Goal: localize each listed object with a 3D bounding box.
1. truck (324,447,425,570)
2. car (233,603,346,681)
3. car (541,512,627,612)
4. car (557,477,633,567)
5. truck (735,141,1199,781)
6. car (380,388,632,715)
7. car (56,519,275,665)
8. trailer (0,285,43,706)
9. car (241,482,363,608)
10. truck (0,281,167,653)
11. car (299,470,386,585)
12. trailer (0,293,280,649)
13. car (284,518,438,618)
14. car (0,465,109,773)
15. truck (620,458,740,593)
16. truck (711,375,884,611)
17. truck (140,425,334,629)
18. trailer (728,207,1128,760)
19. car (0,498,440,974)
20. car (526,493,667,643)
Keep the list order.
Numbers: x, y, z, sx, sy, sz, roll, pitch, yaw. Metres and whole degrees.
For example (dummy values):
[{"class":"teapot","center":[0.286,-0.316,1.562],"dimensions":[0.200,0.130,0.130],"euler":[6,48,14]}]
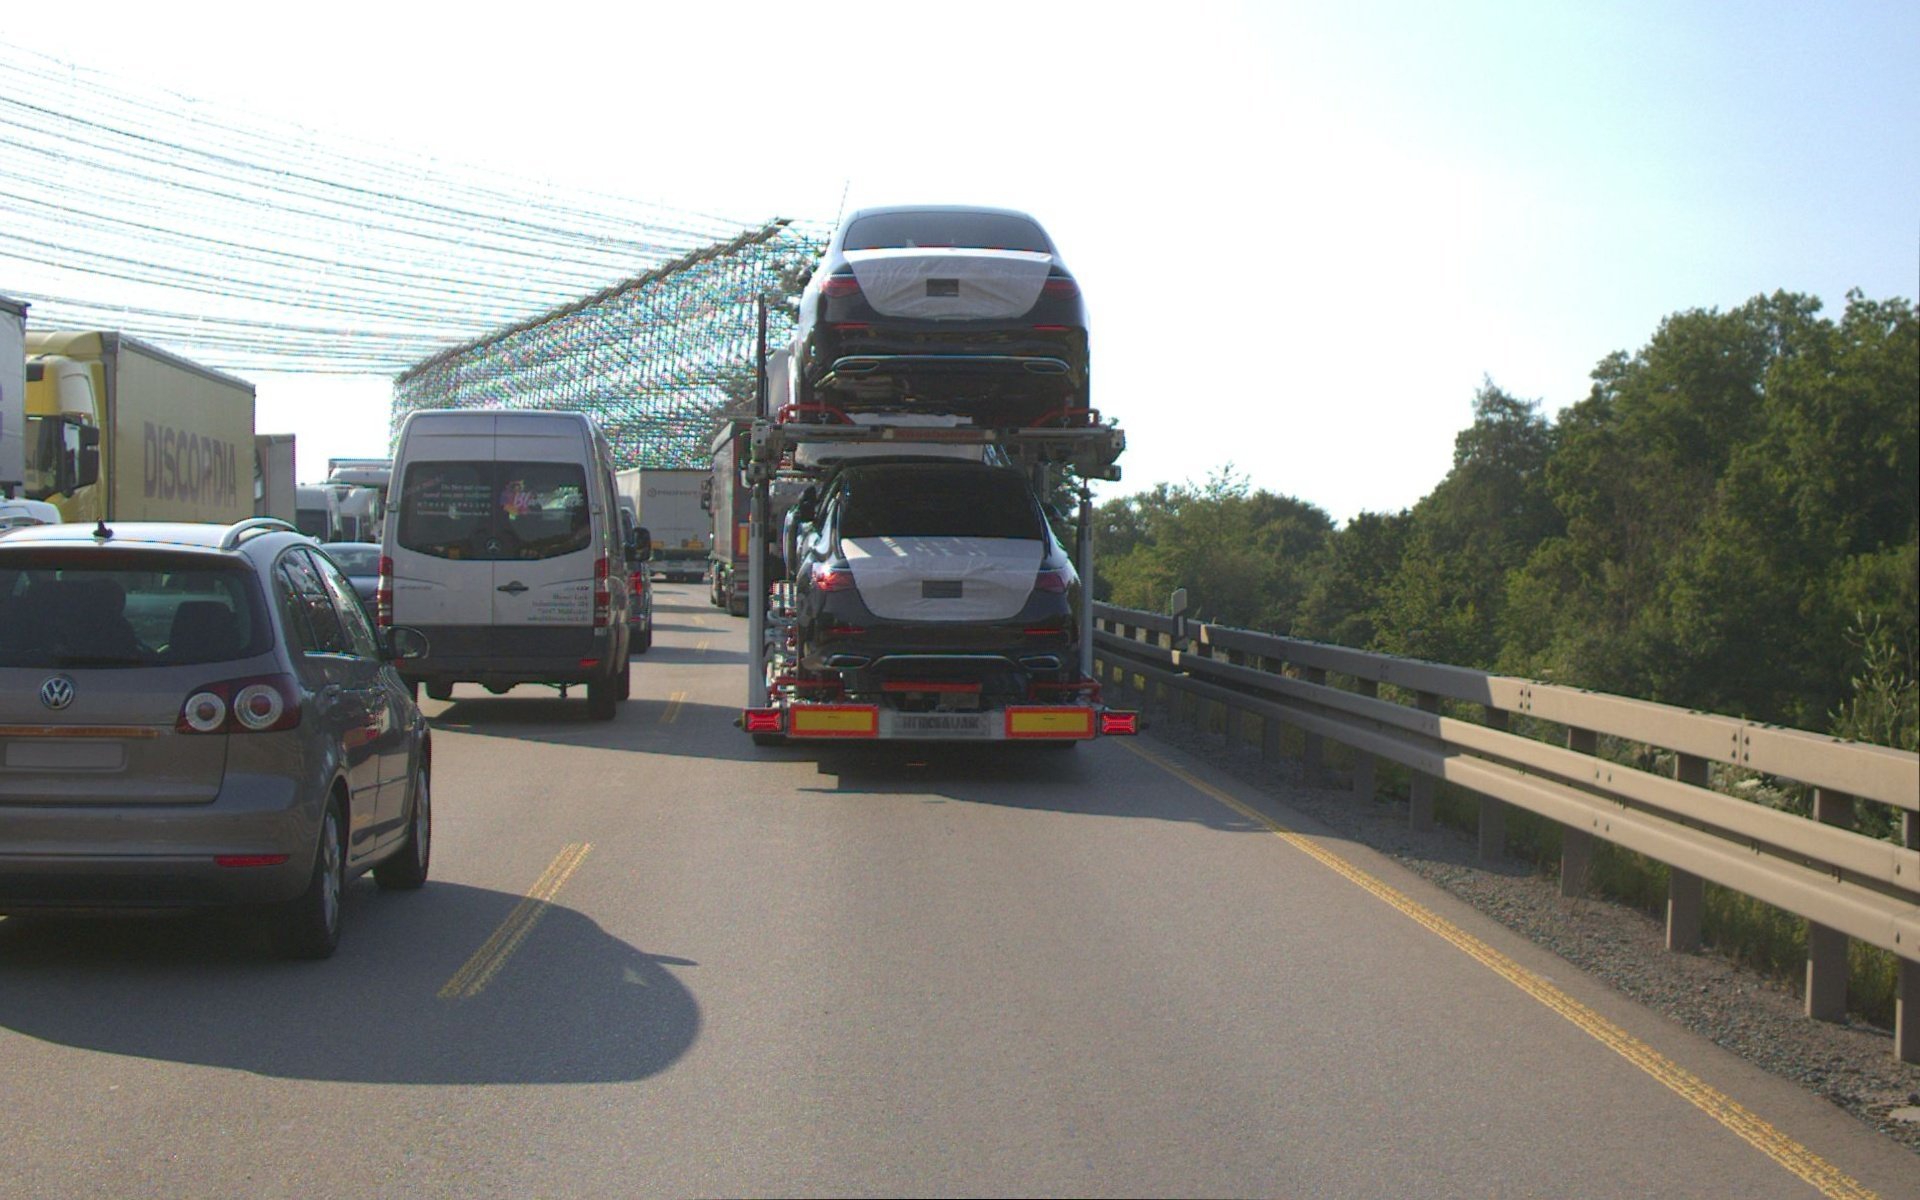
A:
[{"class":"truck","center":[-19.811,-3.080,116.731],"dimensions":[2.641,3.981,9.031],"euler":[0,1,-5]},{"class":"car","center":[-13.561,0.840,69.700],"dimensions":[1.808,1.525,4.048],"euler":[0,0,-5]},{"class":"car","center":[-7.682,-0.757,70.473],"dimensions":[1.668,1.978,3.818],"euler":[0,0,-5]},{"class":"car","center":[-8.426,-1.780,79.541],"dimensions":[1.668,1.978,3.818],"euler":[0,0,-5]},{"class":"truck","center":[-0.139,-0.847,24.279],"dimensions":[2.869,3.966,5.772],"euler":[0,0,-4]},{"class":"car","center":[-3.923,-0.389,30.286],"dimensions":[1.979,2.675,4.147],"euler":[0,0,-4]},{"class":"car","center":[-8.596,-0.122,37.472],"dimensions":[1.670,1.501,3.848],"euler":[0,1,-3]},{"class":"trailer","center":[-10.772,-1.076,30.506],"dimensions":[2.453,4.251,12.146],"euler":[0,0,-2]},{"class":"car","center":[-14.947,-1.204,78.362],"dimensions":[2.128,2.741,5.505],"euler":[0,0,-4]},{"class":"truck","center":[-11.667,-1.508,42.208],"dimensions":[2.893,4.257,5.772],"euler":[0,0,-4]},{"class":"car","center":[-15.290,-1.794,85.310],"dimensions":[1.668,2.756,4.960],"euler":[0,1,-5]},{"class":"trailer","center":[-12.175,-1.552,49.460],"dimensions":[2.893,4.379,14.381],"euler":[0,0,-4]},{"class":"car","center":[-8.975,-0.455,51.811],"dimensions":[1.754,1.444,4.534],"euler":[0,0,-3]},{"class":"car","center":[-6.936,0.091,22.353],"dimensions":[1.833,1.910,4.865],"euler":[0,1,-3]},{"class":"truck","center":[-10.323,-2.715,125.651],"dimensions":[3.647,4.661,11.698],"euler":[0,1,-8]},{"class":"truck","center":[-3.642,-2.239,74.114],"dimensions":[3.227,4.661,11.697],"euler":[0,1,-5]},{"class":"truck","center":[-13.182,-1.245,63.189],"dimensions":[2.358,3.519,7.698],"euler":[0,0,-3]},{"class":"trailer","center":[-0.744,-0.805,32.452],"dimensions":[2.874,3.980,15.281],"euler":[0,0,-4]},{"class":"car","center":[-3.107,0.463,13.506],"dimensions":[1.700,1.581,4.147],"euler":[0,0,-3]},{"class":"car","center":[-4.984,-0.414,47.482],"dimensions":[1.668,1.978,3.818],"euler":[0,0,-2]}]
